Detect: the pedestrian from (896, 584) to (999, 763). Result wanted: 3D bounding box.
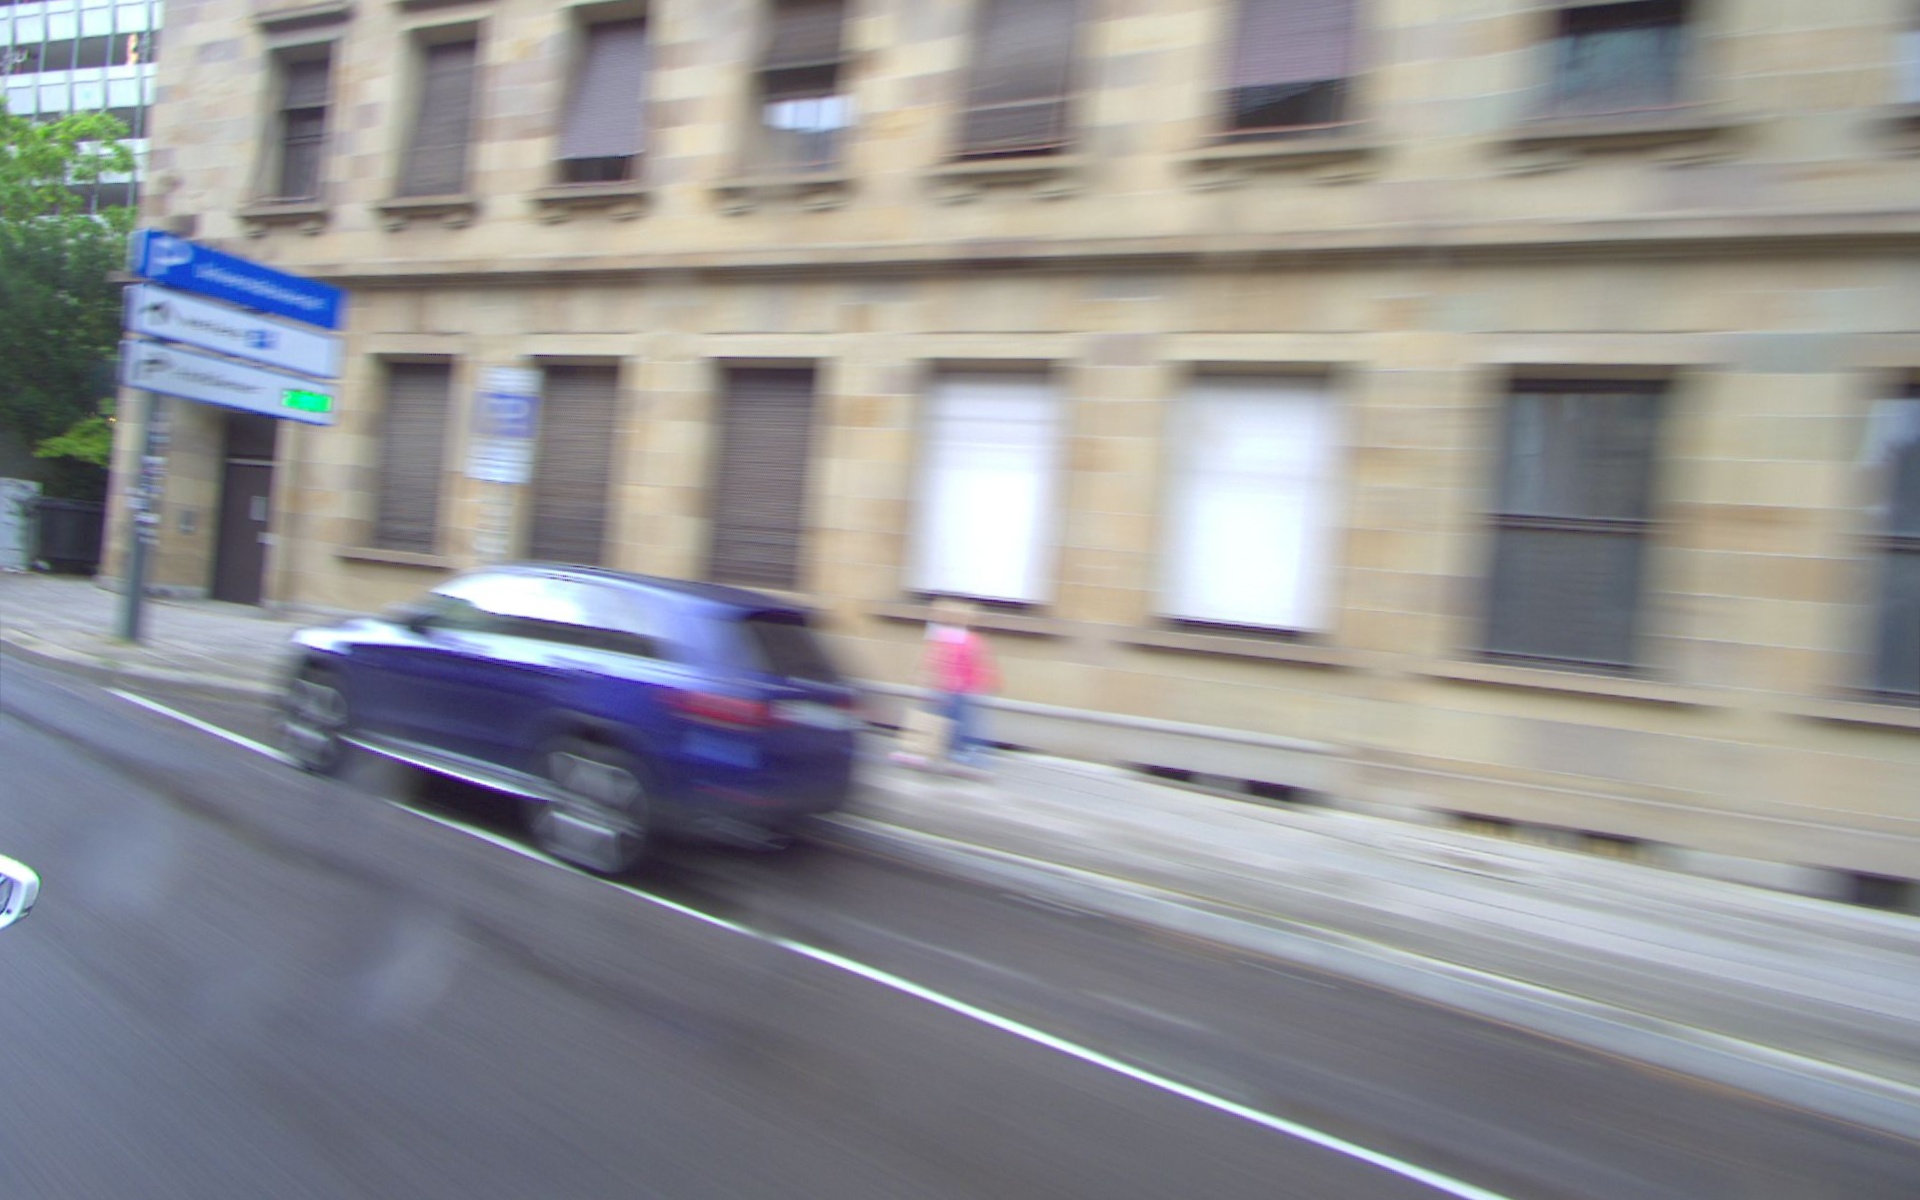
[{"bbox_3d":[-0.114,0.707,9.761,0.662,1.621,0.526,6,-1,25],"label":"pedestrian"}]

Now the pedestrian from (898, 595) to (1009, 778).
[{"bbox_3d":[-0.057,0.763,9.007,0.662,1.510,0.526,6,-1,27],"label":"pedestrian"}]

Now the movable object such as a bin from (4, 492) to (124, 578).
[{"bbox_3d":[-15.964,-1.154,17.932,1.213,1.327,1.240,7,1,32],"label":"movable object such as a bin"}]

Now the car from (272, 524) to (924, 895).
[{"bbox_3d":[-2.512,0.547,6.765,4.087,1.638,1.772,6,-2,30],"label":"car"}]
